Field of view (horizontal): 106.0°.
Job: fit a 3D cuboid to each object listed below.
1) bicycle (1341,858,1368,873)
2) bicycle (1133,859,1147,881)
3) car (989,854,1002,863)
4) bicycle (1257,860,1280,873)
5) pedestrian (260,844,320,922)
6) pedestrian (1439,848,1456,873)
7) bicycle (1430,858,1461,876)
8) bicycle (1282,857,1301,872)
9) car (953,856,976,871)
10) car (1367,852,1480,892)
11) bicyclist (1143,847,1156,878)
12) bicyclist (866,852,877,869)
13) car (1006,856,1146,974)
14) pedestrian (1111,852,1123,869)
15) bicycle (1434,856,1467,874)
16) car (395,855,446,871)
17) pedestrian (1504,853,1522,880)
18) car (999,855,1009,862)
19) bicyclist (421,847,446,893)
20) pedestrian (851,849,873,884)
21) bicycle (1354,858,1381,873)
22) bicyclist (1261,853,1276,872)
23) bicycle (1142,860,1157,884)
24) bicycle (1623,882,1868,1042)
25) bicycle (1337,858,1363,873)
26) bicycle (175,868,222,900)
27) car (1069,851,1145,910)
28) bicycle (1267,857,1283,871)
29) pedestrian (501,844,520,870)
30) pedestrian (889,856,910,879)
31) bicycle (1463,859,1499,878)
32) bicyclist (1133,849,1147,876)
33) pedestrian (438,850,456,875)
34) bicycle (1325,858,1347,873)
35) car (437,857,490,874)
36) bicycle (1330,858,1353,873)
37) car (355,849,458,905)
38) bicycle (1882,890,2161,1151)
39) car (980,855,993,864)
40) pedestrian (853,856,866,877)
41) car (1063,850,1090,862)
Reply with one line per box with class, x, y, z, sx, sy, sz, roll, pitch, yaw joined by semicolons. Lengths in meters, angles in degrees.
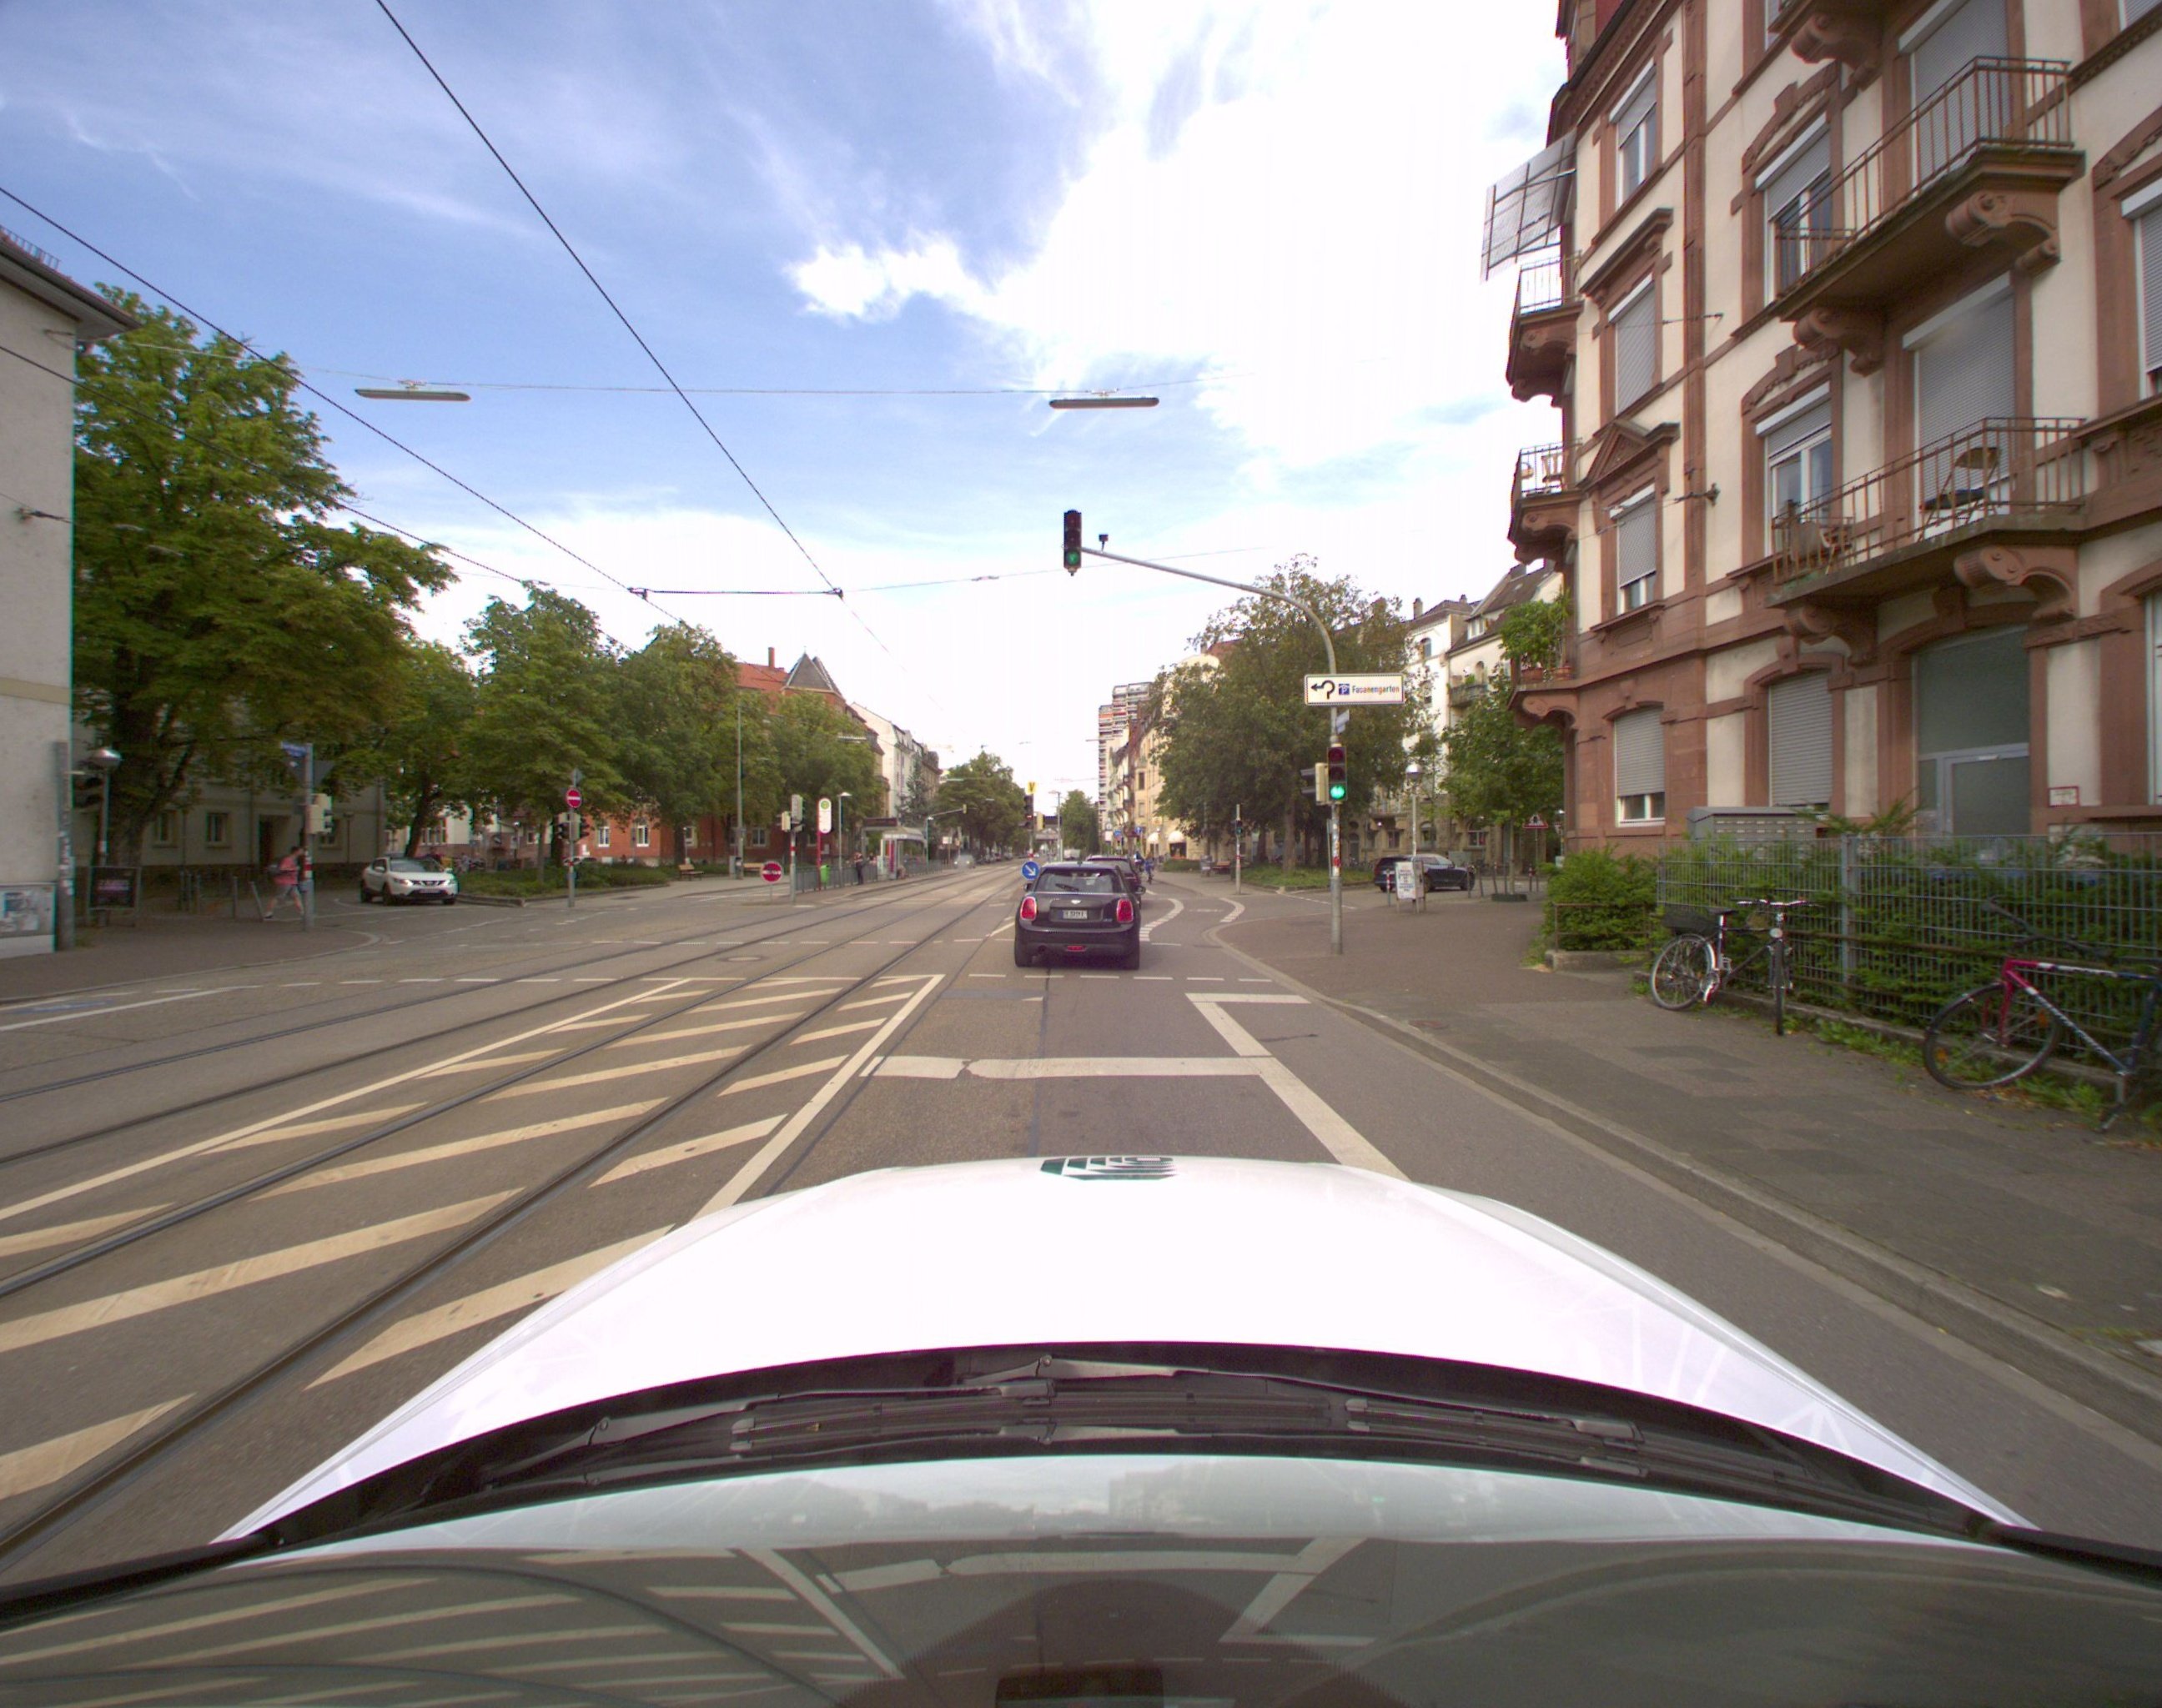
bicycle;20.554;0.840;61.179;1.888;1.128;0.596;0;0;-10
bicycle;3.378;0.899;46.584;0.681;1.170;1.697;-1;0;1
car;-16.287;0.822;155.158;1.988;1.552;3.998;0;0;-1
bicycle;14.912;0.993;64.826;0.620;1.076;1.799;-1;0;-41
pedestrian;-19.884;0.711;20.487;0.724;1.900;0.840;-1;0;21
pedestrian;25.082;0.426;55.719;0.730;1.676;0.833;0;0;-9
bicycle;23.600;0.859;52.742;1.889;1.128;0.530;0;0;-13
bicycle;17.084;0.845;66.061;0.659;1.128;1.905;-1;0;40
car;-12.036;0.968;84.625;1.746;1.441;4.000;1;0;0
car;13.081;0.643;31.045;4.495;1.441;1.740;0;0;-32
bicyclist;3.586;0.438;42.636;0.593;1.550;1.013;-1;0;-1
bicyclist;-16.170;0.512;62.923;0.659;1.339;0.835;0;0;-1
car;0.039;0.776;12.357;1.744;1.441;4.003;1;0;3
pedestrian;3.540;0.655;81.065;0.723;1.674;0.840;-4;0;45
bicycle;23.505;0.710;51.836;1.879;1.128;0.533;0;0;4
car;-59.021;0.778;72.778;3.953;1.395;1.825;0;0;21
pedestrian;26.316;0.760;49.592;0.826;1.623;0.736;0;0;18
car;-16.846;0.943;178.108;1.988;1.552;3.998;0;0;-1
bicyclist;-25.470;0.612;32.027;0.614;1.775;0.902;-1;0;-29
pedestrian;-10.273;0.588;38.211;0.851;1.621;0.841;0;0;-7
bicycle;21.174;0.838;60.136;1.893;1.128;0.579;0;0;-19
bicyclist;14.922;0.685;64.819;0.620;1.473;0.904;-1;0;-41
bicycle;3.594;0.931;42.638;0.597;1.170;1.696;-1;0;-1
bicycle;5.450;0.820;6.834;0.669;1.106;1.671;-1;0;-1
bicycle;20.401;0.842;61.760;1.888;1.128;0.561;0;0;-10
bicycle;-30.528;1.023;28.203;0.496;1.008;1.824;0;0;-27
car;0.756;0.678;22.817;1.919;1.510;4.003;0;0;3
bicycle;16.015;0.839;67.246;0.526;1.128;1.905;-1;0;40
pedestrian;-38.447;0.218;54.852;0.745;1.754;0.736;-1;0;17
pedestrian;-10.279;0.755;46.184;1.057;1.294;0.983;0;0;-7
bicycle;23.977;0.852;48.808;1.882;1.128;0.532;0;0;-1
bicyclist;3.372;0.480;46.532;0.681;1.564;0.998;-1;0;0
pedestrian;-43.953;0.599;56.492;0.724;1.754;0.687;-1;0;19
bicycle;19.708;0.888;62.934;1.900;1.128;0.527;-1;0;-33
car;-53.842;1.016;70.984;3.953;1.395;1.825;0;0;21
bicycle;19.976;0.881;62.457;1.900;1.128;0.527;-2;1;-33
car;-22.844;0.813;27.542;4.105;1.721;1.852;-3;-3;38
bicycle;5.084;0.780;4.100;0.507;1.088;1.549;-4;0;-1
car;-14.929;0.925;128.484;1.762;1.395;3.997;0;0;-2
pedestrian;-17.688;0.997;65.026;0.832;1.703;0.731;0;0;-7
car;-0.838;0.320;161.243;5.067;2.272;2.368;0;0;-42
